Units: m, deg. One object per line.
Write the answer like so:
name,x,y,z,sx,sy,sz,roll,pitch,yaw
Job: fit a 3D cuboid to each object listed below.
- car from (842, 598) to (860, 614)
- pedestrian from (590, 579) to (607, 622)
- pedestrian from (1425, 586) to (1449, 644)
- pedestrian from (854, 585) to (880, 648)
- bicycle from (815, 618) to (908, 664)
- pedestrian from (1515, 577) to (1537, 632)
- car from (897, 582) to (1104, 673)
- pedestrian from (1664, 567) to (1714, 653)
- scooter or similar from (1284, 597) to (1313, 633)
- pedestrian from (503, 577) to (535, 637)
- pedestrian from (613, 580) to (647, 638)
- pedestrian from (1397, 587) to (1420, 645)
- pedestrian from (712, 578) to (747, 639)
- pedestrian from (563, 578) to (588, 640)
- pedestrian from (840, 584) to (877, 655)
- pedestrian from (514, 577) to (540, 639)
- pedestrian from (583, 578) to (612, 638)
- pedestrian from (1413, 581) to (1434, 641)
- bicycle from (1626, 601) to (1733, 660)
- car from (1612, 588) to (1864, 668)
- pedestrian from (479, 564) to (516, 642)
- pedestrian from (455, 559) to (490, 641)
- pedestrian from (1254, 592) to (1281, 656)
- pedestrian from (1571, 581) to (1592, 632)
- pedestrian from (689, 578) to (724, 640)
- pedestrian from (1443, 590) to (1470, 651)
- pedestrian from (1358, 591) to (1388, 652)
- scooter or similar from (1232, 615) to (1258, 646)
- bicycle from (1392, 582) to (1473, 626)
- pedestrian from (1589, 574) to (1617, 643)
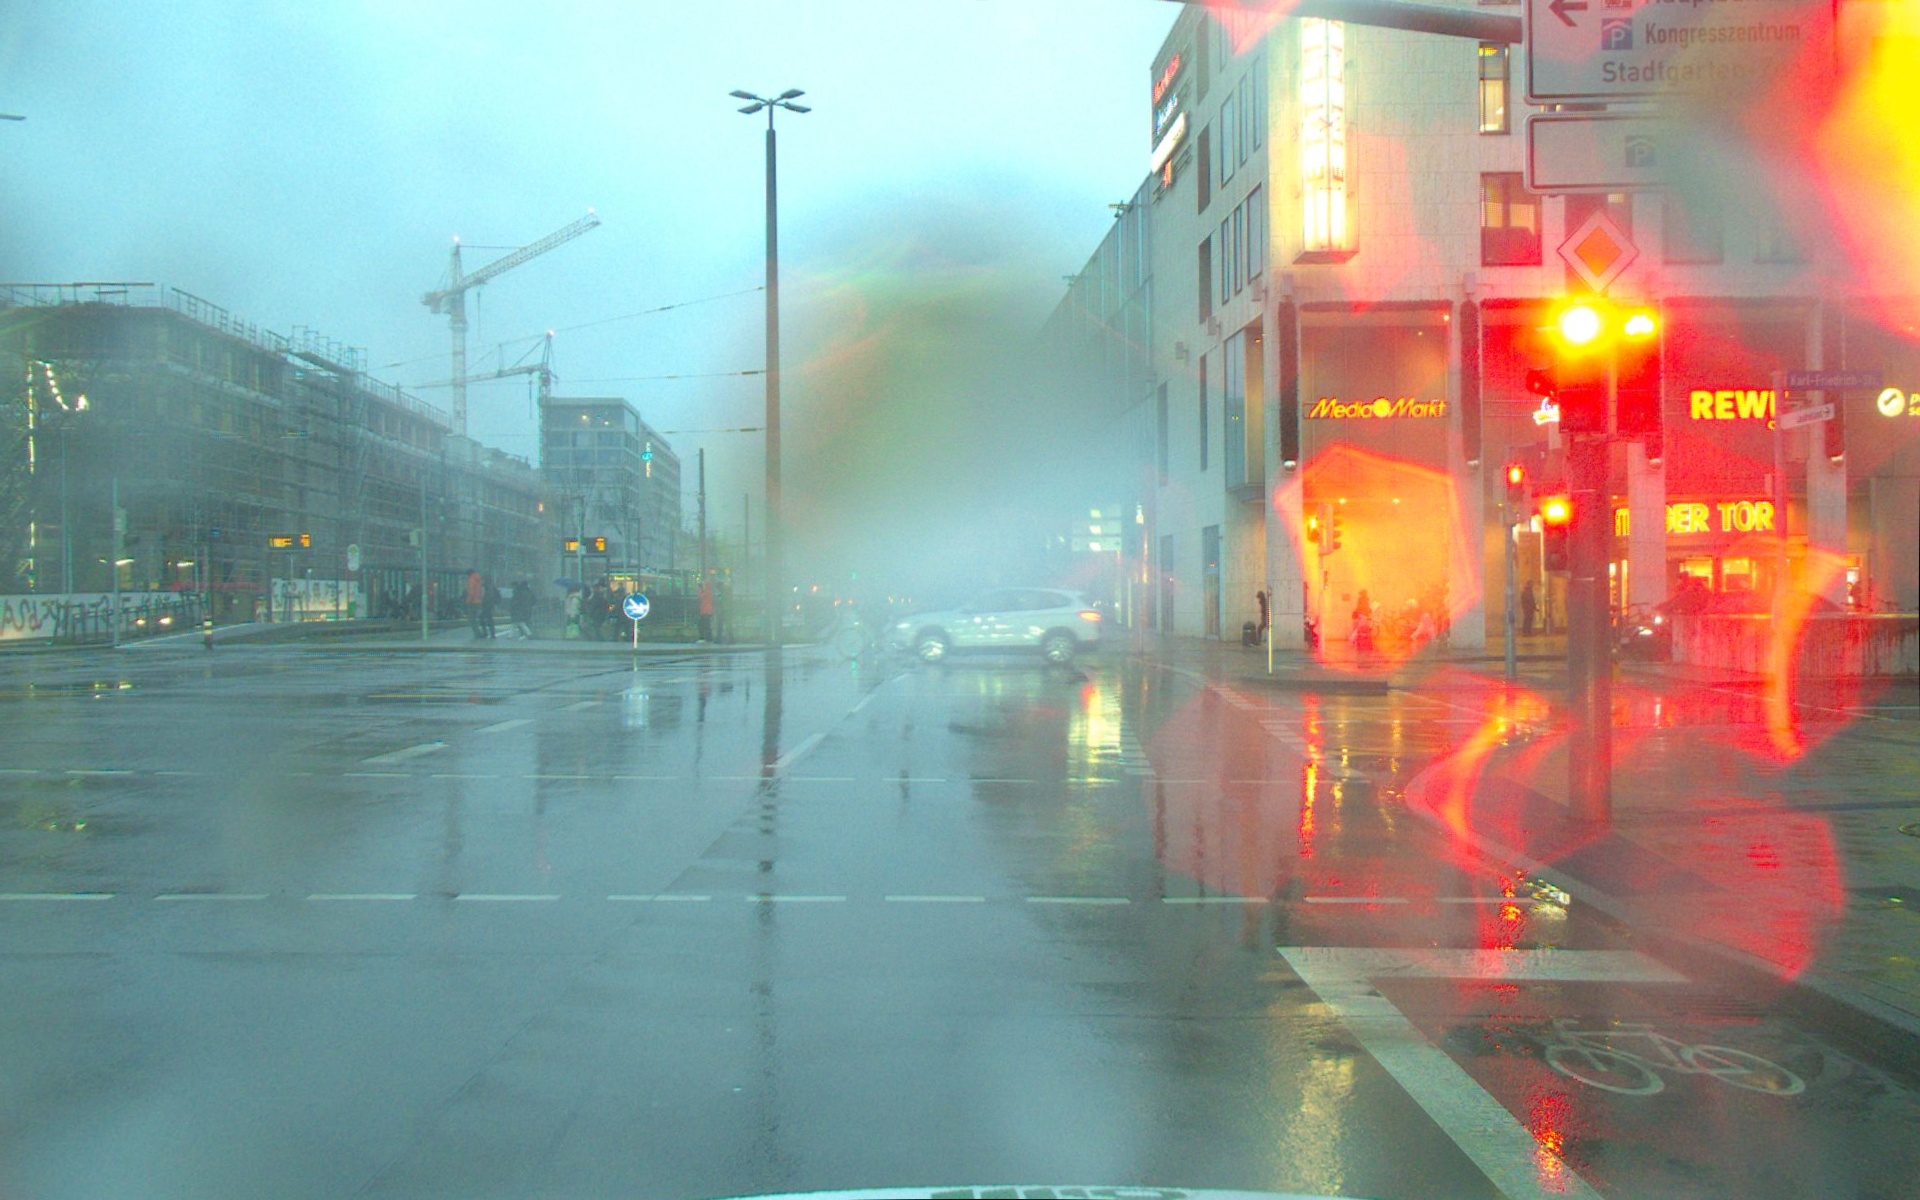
car,-12.888,0.748,195.670,1.850,1.814,3.713,1,-1,-1
pedestrian,-14.995,0.010,68.594,0.648,1.776,0.734,-1,0,-11
pedestrian,14.568,0.451,50.501,0.526,1.748,0.500,-1,0,37
pedestrian,-2.676,0.482,47.642,0.688,1.791,0.652,-1,0,-1
bicycle,-2.241,0.925,37.817,2.084,1.009,0.541,1,-1,1
pedestrian,18.175,0.143,53.105,0.526,1.748,0.500,-1,0,37
car,0.830,0.554,34.619,4.214,1.792,1.707,-1,0,0
pedestrian,13.999,0.186,31.783,0.764,1.623,0.613,-1,0,14
scooter or similar,9.728,0.434,47.538,0.726,1.011,0.400,-1,0,1
pedestrian,-12.251,0.194,45.989,0.692,1.647,0.680,-1,0,0
pedestrian,-9.384,0.260,47.057,0.793,1.635,0.745,-1,0,-1
pedestrian,13.644,0.475,50.300,0.526,1.748,0.500,-1,0,37
pedestrian,-6.562,0.247,47.095,0.825,1.718,0.678,-1,0,8
pedestrian,-11.084,0.255,47.637,0.607,1.776,0.612,-1,0,-6
pedestrian,-2.312,0.438,37.825,0.798,1.597,0.536,-1,0,0
pedestrian,-12.529,0.235,47.887,0.607,1.776,0.612,-1,0,-6
pedestrian,-10.171,0.228,46.438,0.692,1.647,0.612,-1,0,-3
pedestrian,13.842,0.319,49.427,0.501,1.791,0.374,-1,0,-1
bicycle,13.836,0.585,31.843,1.806,1.112,0.618,-1,0,14
car,16.194,0.573,34.637,4.439,1.601,1.798,-1,0,9
pedestrian,-12.331,0.069,44.075,0.770,2.049,0.604,-1,0,-39
pedestrian,-12.798,0.003,43.413,0.682,2.124,0.604,0,0,-41
pedestrian,8.656,0.671,46.581,0.620,1.803,0.483,-1,0,-2
pedestrian,21.223,0.225,56.460,0.526,1.748,0.500,-1,0,37
pedestrian,-7.100,0.255,46.331,0.813,1.709,0.620,-1,0,5
pedestrian,14.689,0.616,48.943,0.605,1.791,0.482,-1,0,-1
pedestrian,12.153,0.630,48.633,0.688,1.791,0.667,-1,0,-1
scooter or similar,8.858,0.941,51.382,0.726,0.932,0.400,-1,0,0
bicycle,14.714,0.131,51.545,2.378,1.352,0.634,0,0,-6
pedestrian,16.236,0.218,41.754,0.526,1.715,0.547,-1,0,37
